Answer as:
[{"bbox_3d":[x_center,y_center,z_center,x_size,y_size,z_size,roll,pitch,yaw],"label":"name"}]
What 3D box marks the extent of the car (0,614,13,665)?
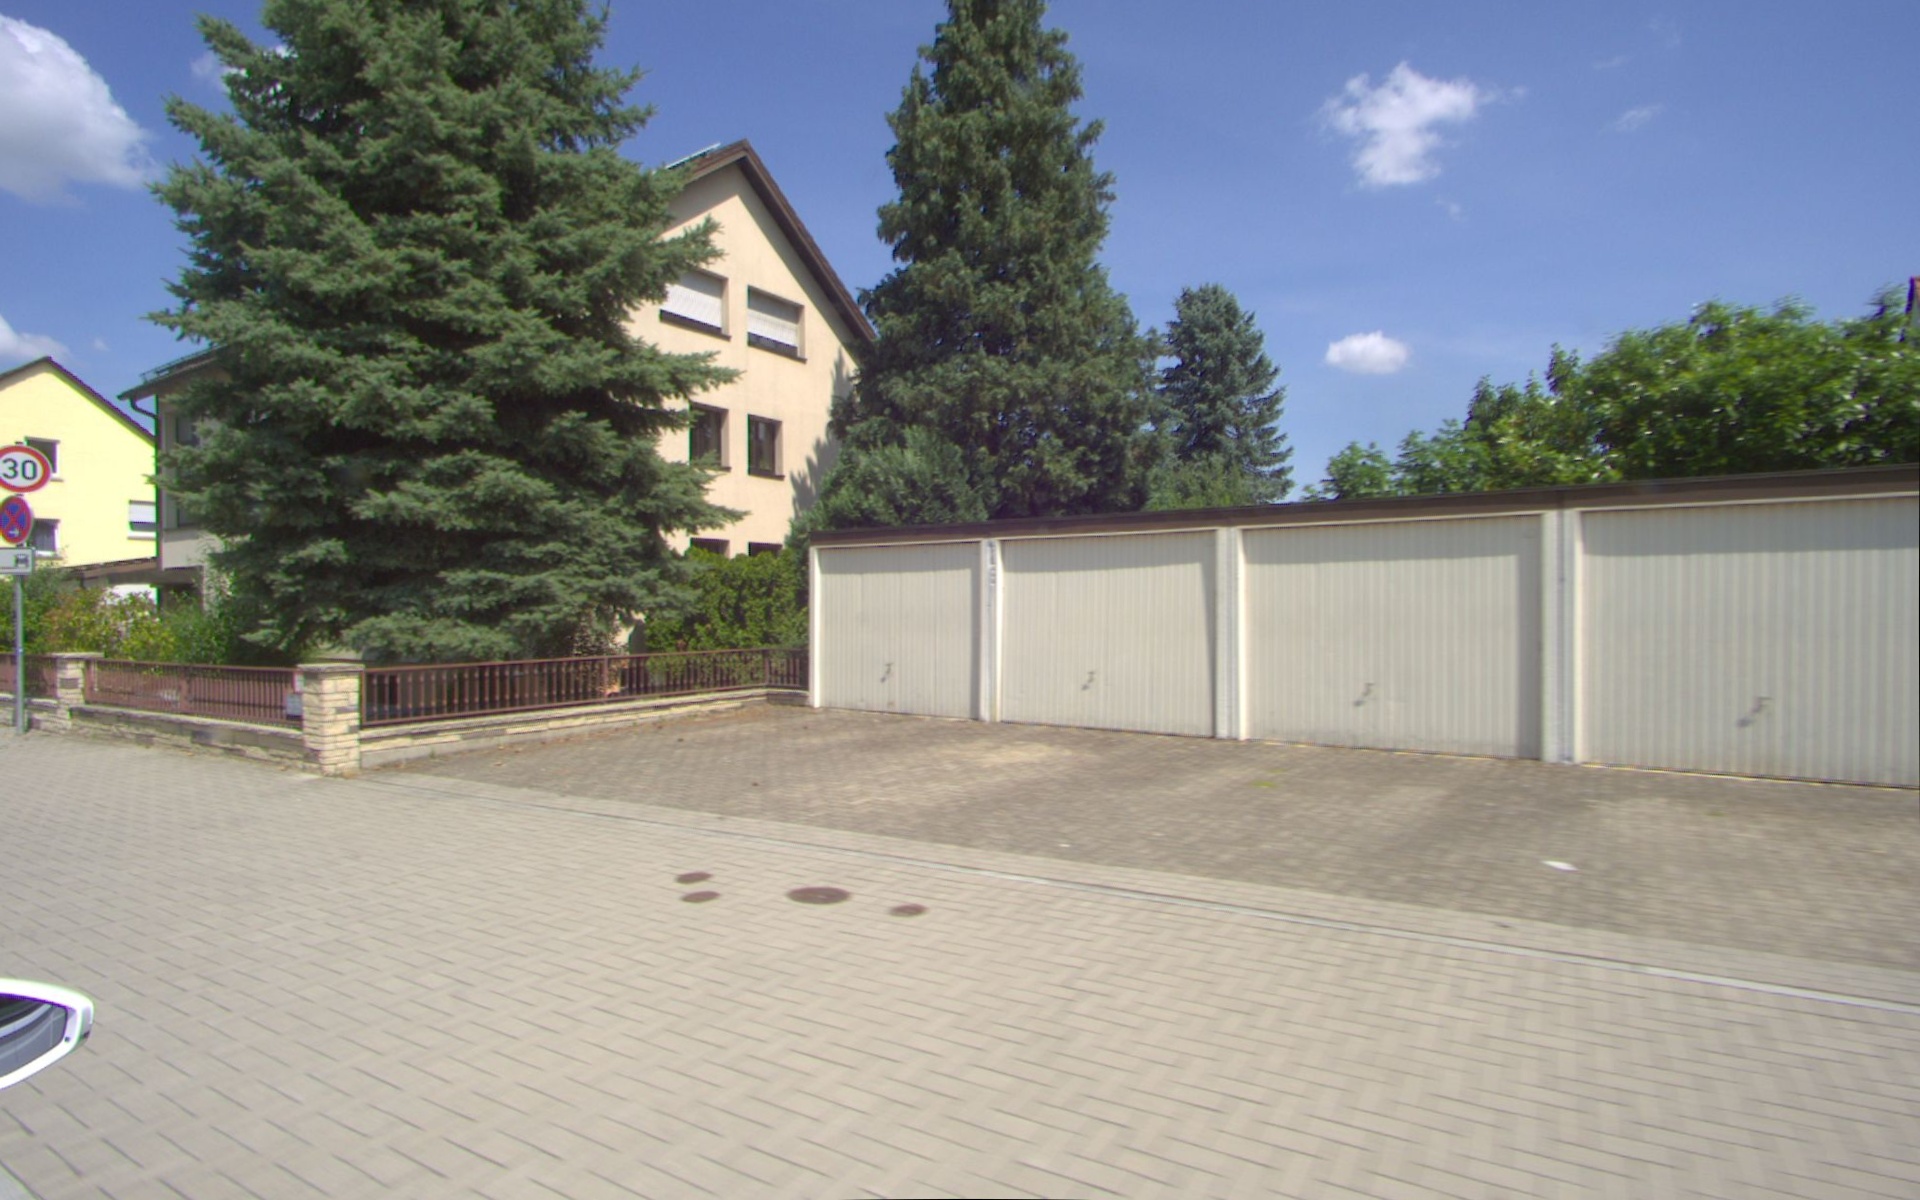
[{"bbox_3d":[-30.010,1.178,28.631,1.722,1.492,3.978,0,0,33],"label":"car"}]
